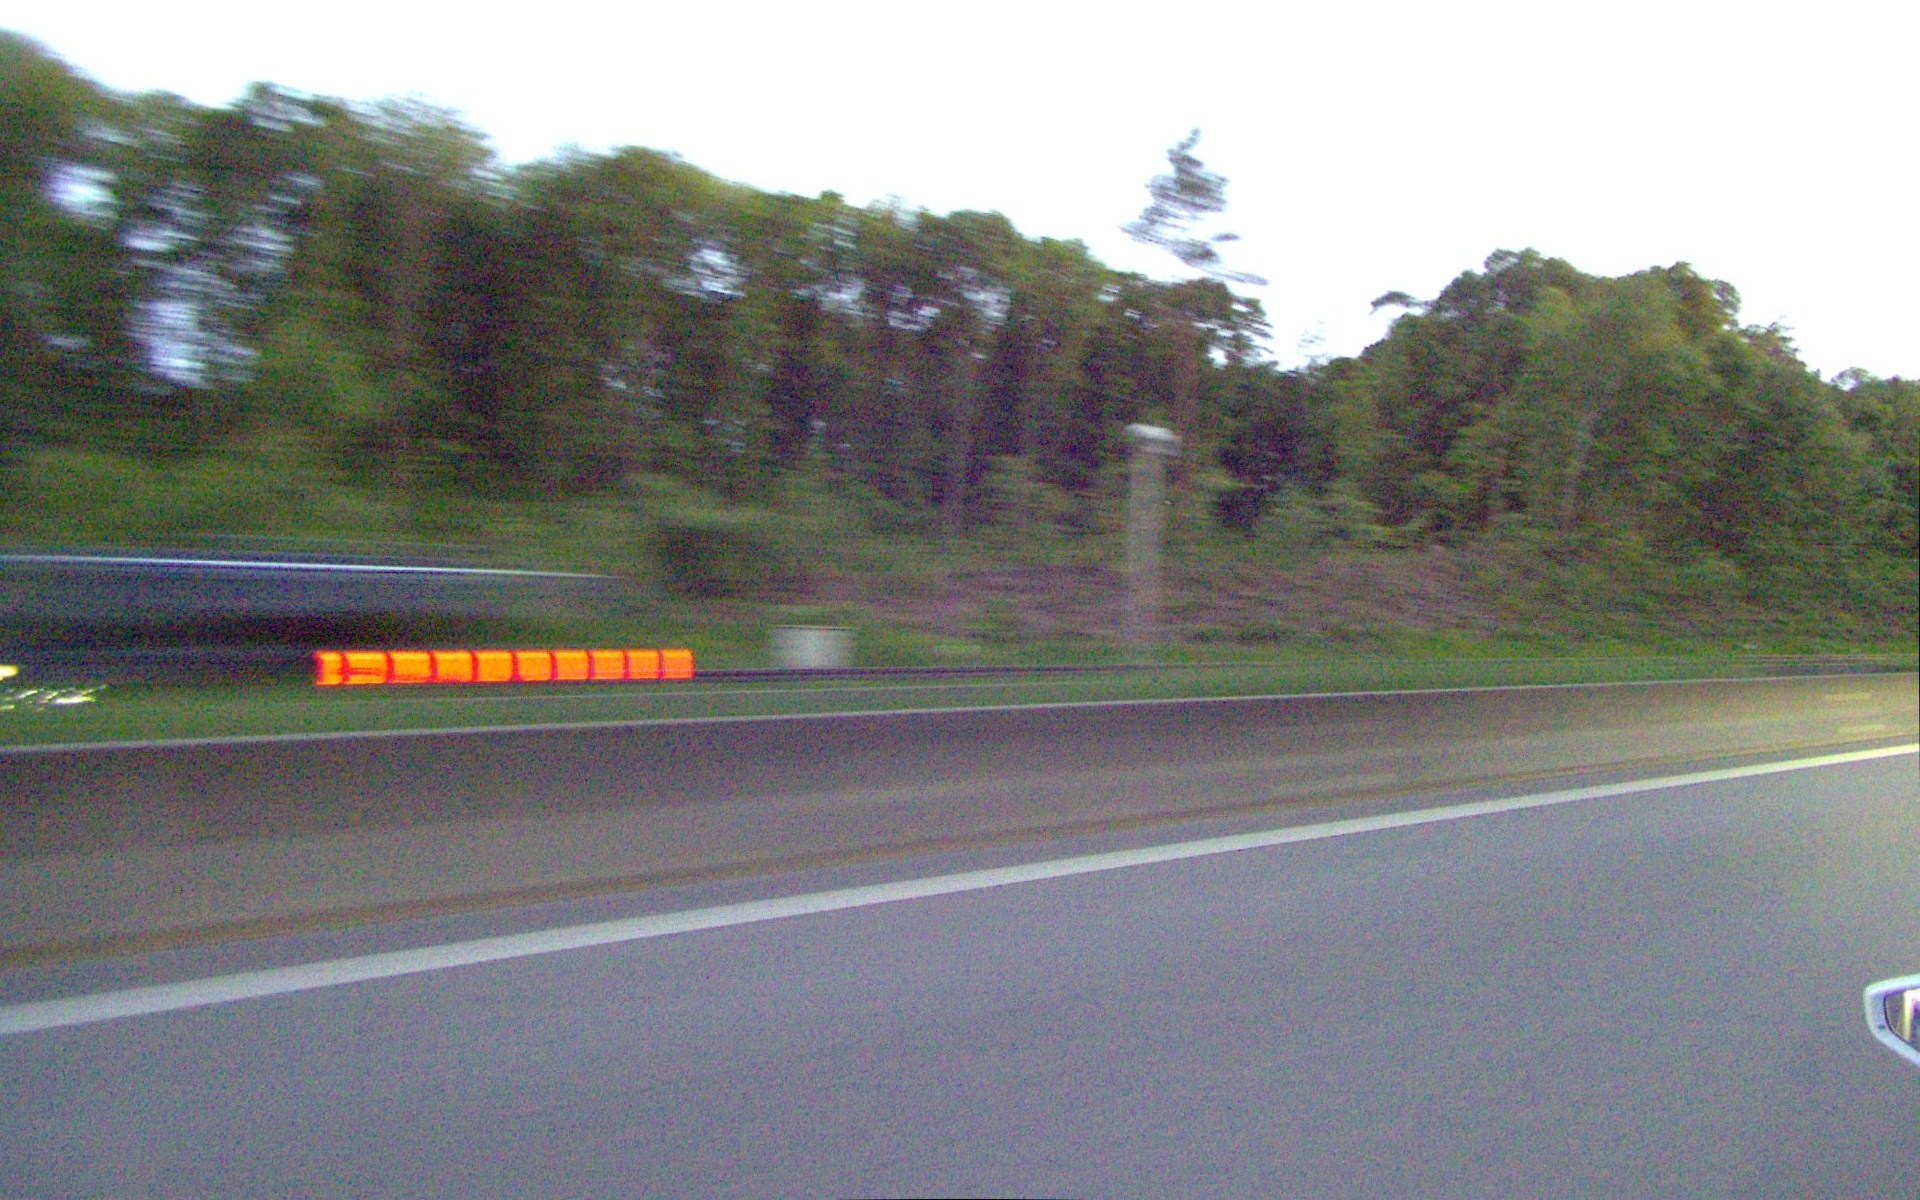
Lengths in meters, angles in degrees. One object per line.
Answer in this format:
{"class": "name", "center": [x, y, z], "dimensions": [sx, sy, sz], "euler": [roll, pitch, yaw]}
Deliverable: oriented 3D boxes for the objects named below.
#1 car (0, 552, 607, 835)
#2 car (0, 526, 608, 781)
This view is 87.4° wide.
{"class": "car", "center": [-6.064, 0.730, 8.888], "dimensions": [5.294, 2.040, 1.985], "euler": [2, -2, -29]}
{"class": "car", "center": [-8.307, 0.601, 11.984], "dimensions": [7.435, 2.517, 2.301], "euler": [2, -2, -32]}
